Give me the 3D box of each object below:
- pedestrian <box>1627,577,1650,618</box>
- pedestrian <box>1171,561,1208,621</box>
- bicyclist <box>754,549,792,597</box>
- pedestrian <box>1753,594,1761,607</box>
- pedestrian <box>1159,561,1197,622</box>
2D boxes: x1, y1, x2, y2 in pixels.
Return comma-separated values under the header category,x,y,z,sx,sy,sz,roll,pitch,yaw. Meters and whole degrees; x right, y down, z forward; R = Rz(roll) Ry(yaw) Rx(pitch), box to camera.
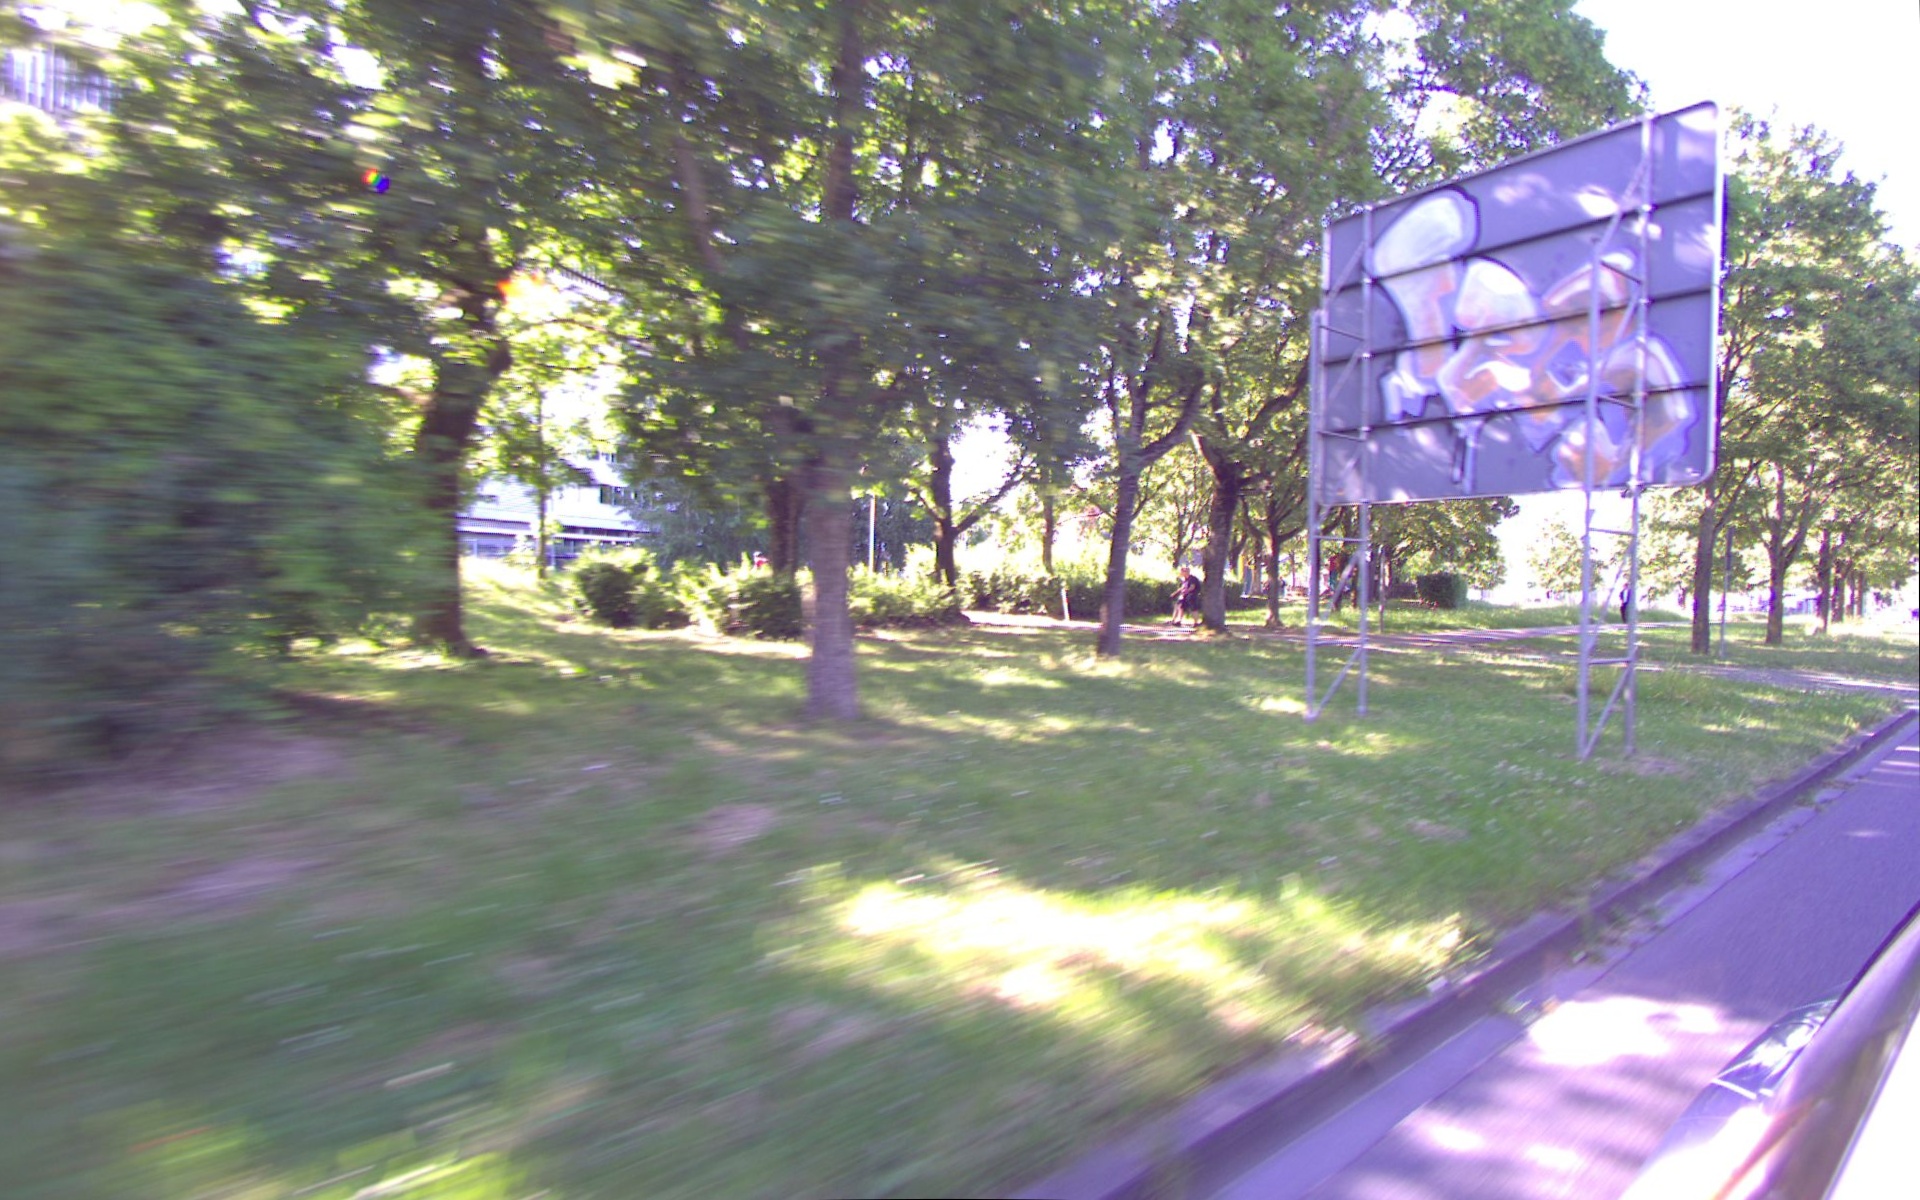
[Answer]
category,x,y,z,sx,sy,sz,roll,pitch,yaw
pedestrian,30.538,-0.103,45.522,0.716,1.826,0.781,1,0,44
pedestrian,6.374,-0.242,28.116,0.827,1.642,0.549,1,1,-33
bicyclist,-5.787,-0.831,31.339,0.837,1.468,0.785,2,1,26
pedestrian,106.118,0.084,134.786,0.728,1.718,0.726,1,0,34
pedestrian,6.183,-0.237,28.714,0.827,1.713,0.638,1,1,-33
